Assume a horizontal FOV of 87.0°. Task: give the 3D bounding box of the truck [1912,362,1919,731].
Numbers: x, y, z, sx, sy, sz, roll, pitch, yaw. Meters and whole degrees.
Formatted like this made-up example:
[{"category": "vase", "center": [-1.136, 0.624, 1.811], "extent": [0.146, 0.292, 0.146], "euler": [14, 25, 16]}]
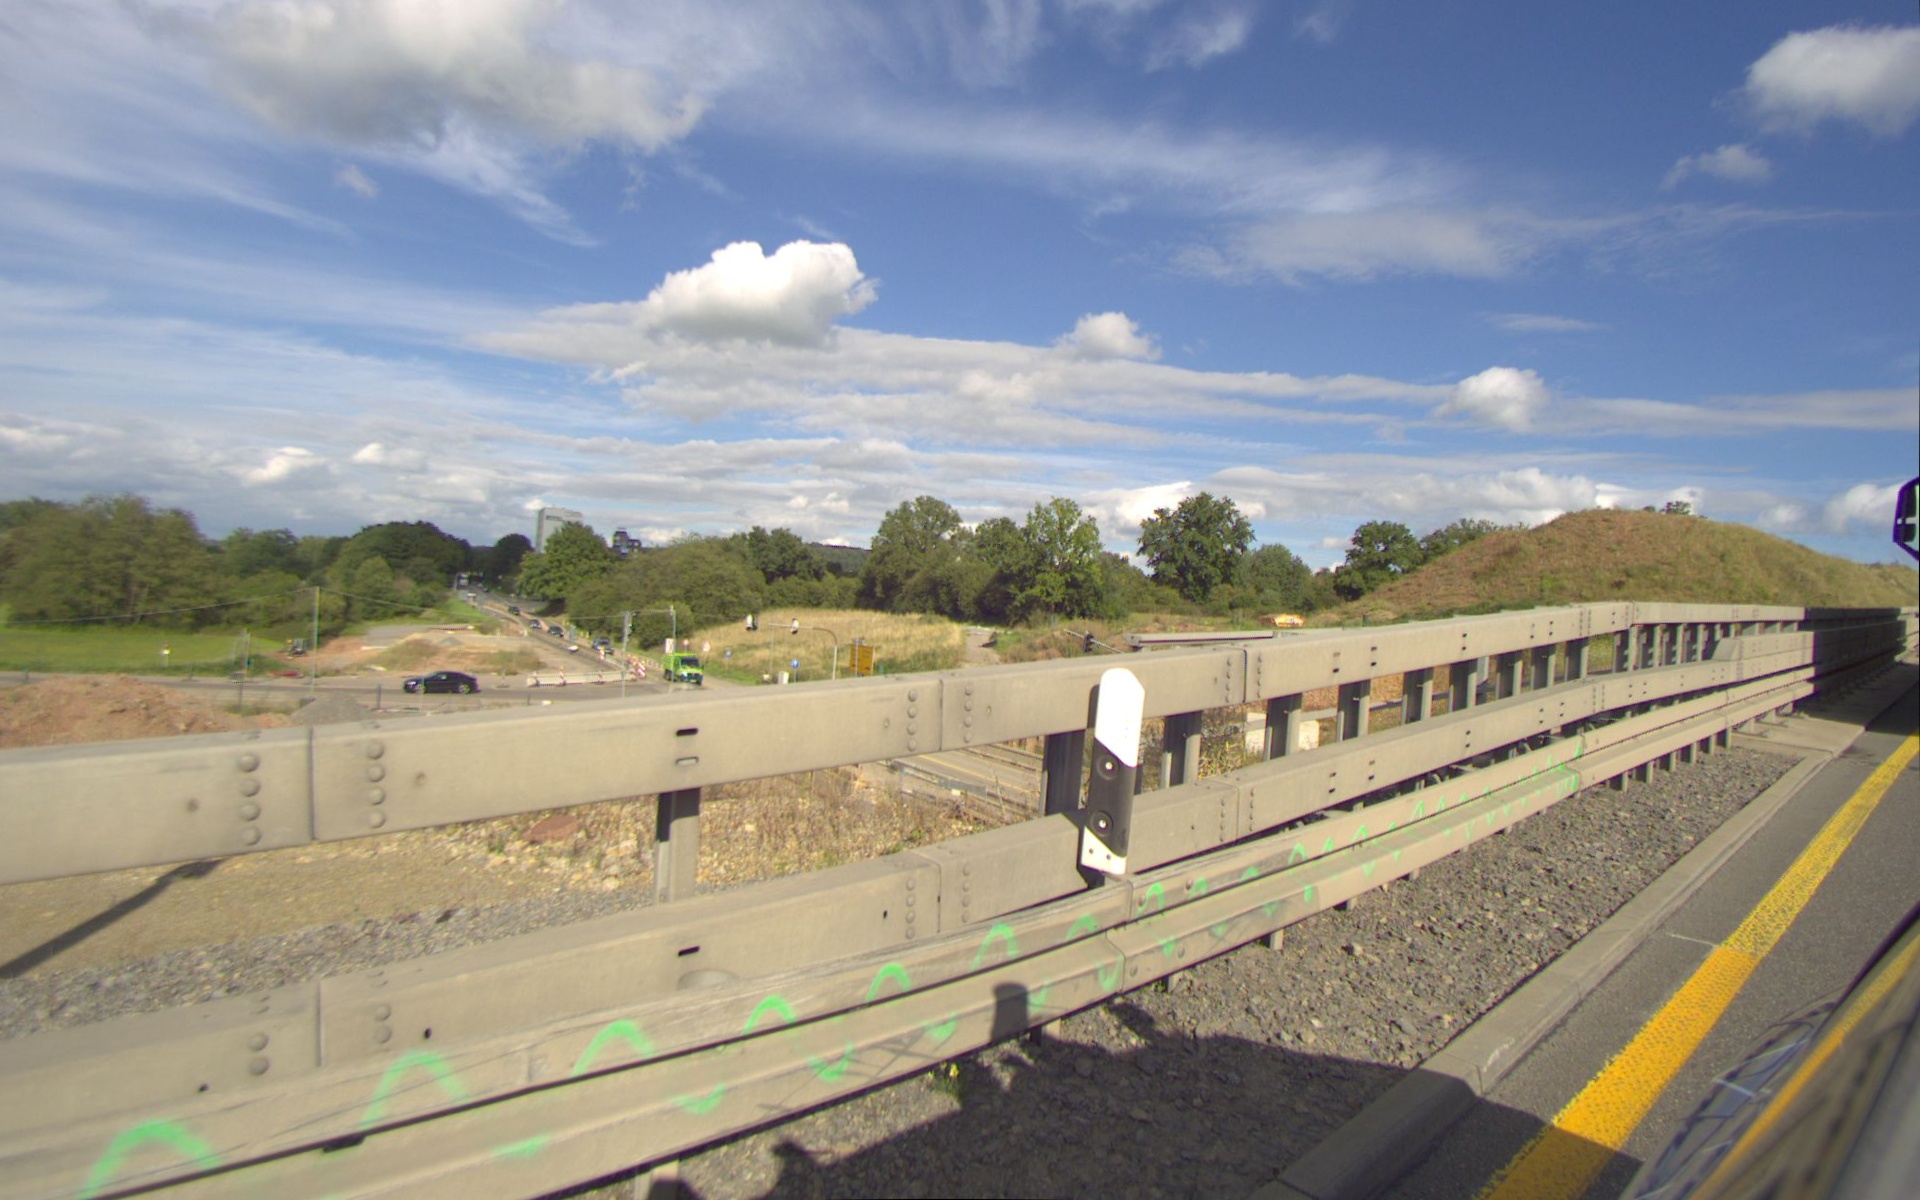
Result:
[{"category": "truck", "center": [14.678, -0.610, 13.206], "extent": [10.144, 3.895, 2.660], "euler": [-1, 1, -43]}]
